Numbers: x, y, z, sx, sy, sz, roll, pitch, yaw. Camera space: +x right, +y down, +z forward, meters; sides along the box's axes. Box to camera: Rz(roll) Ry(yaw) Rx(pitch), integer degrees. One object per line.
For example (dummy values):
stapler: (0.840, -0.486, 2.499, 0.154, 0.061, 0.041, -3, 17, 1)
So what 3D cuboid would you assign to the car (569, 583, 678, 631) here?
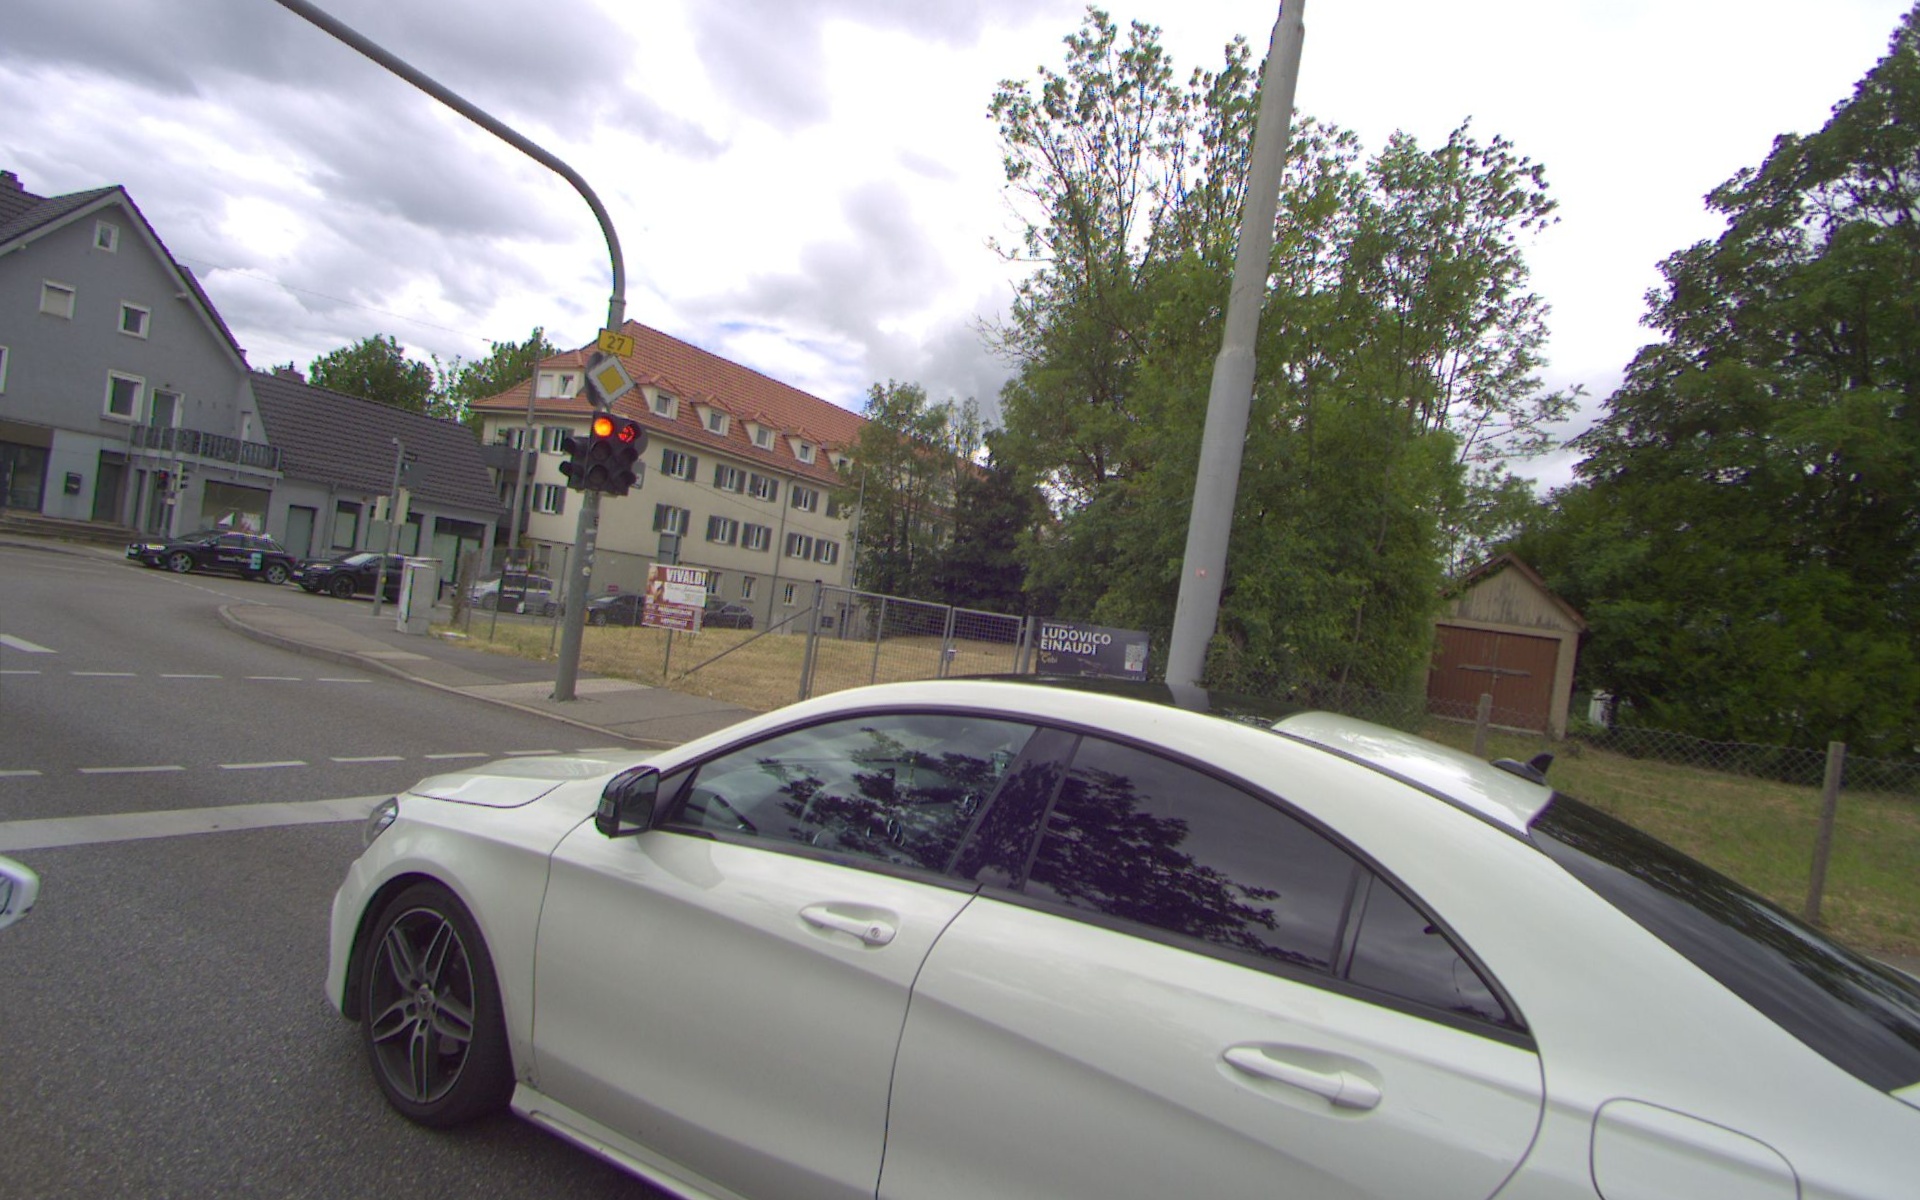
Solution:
car: (-15.056, 0.342, 45.201, 1.968, 1.493, 4.252, 6, -4, 33)

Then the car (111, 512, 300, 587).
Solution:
car: (-22.868, -1.499, 30.660, 1.863, 1.511, 4.097, 7, -3, 30)

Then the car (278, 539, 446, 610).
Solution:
car: (-18.686, -0.762, 31.616, 1.809, 1.538, 4.073, 7, -3, 27)

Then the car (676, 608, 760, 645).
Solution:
car: (-12.630, 1.400, 52.656, 1.839, 1.393, 3.996, 7, -2, 32)

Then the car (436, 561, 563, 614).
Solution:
car: (-17.767, -0.452, 38.970, 1.797, 1.559, 4.108, 7, -1, 29)

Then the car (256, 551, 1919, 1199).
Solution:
car: (0.158, 0.849, 2.649, 4.305, 1.451, 1.651, 7, 0, 32)
